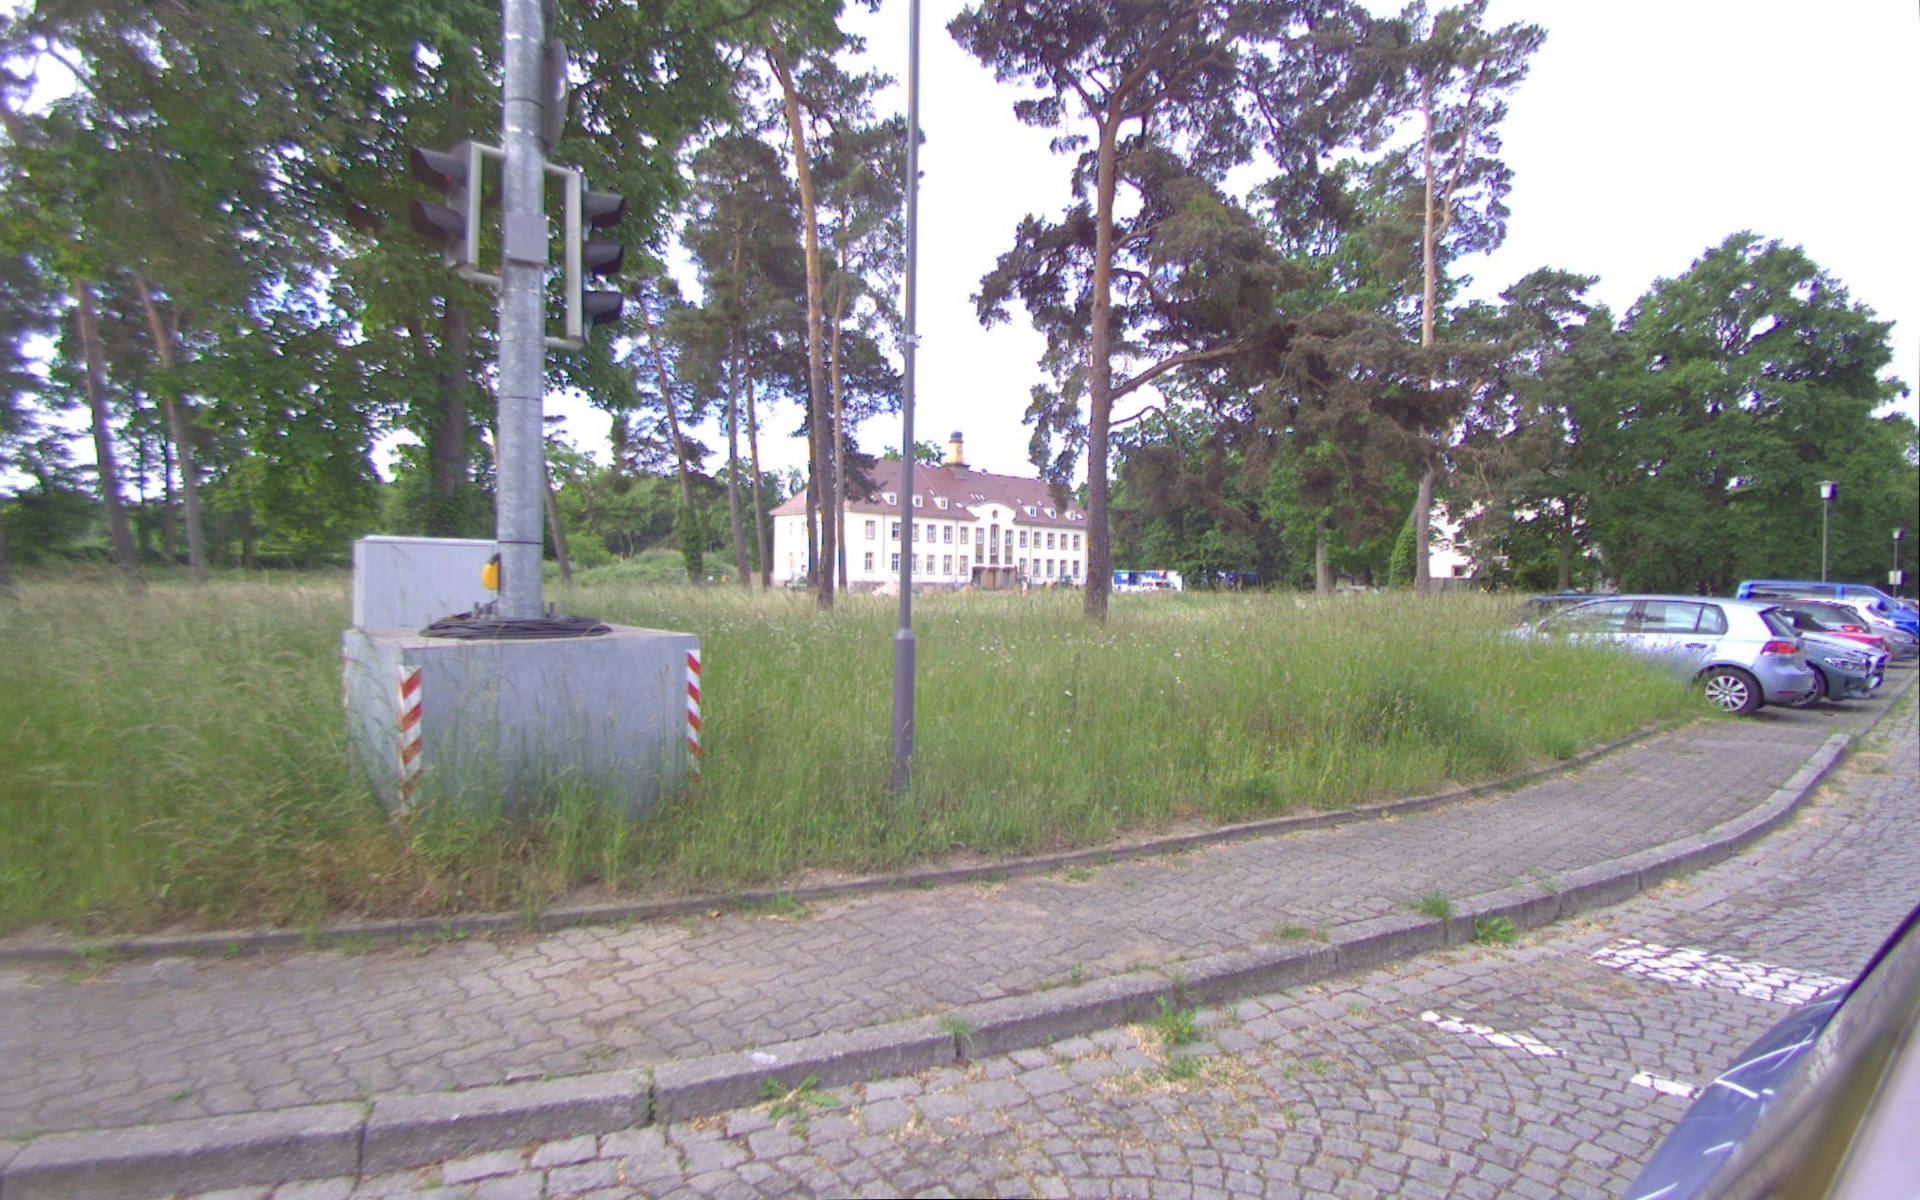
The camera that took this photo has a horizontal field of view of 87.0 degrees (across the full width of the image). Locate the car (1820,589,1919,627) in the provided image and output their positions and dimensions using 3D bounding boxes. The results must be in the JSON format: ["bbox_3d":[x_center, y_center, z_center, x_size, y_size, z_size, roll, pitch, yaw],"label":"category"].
[{"bbox_3d":[39.413,0.317,43.163,1.966,1.549,3.991,0,0,-43],"label":"car"}]

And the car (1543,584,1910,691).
[{"bbox_3d":[12.905,0.523,17.311,1.782,1.501,4.763,0,2,-43],"label":"car"}]

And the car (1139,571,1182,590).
[{"bbox_3d":[22.855,-2.206,115.152,5.133,2.038,2.152,-1,2,-41],"label":"car"}]

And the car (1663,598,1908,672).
[{"bbox_3d":[16.337,0.633,20.144,1.469,1.222,3.596,0,1,-42],"label":"car"}]

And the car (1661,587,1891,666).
[{"bbox_3d":[17.936,0.510,22.350,1.770,1.524,3.779,0,2,-45],"label":"car"}]

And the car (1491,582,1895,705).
[{"bbox_3d":[10.901,0.531,15.340,4.758,1.501,1.734,2,2,44],"label":"car"}]

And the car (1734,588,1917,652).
[{"bbox_3d":[22.188,0.457,26.024,1.609,1.470,3.405,0,2,-42],"label":"car"}]

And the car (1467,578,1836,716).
[{"bbox_3d":[9.035,0.512,13.438,1.579,1.444,3.768,0,2,-43],"label":"car"}]

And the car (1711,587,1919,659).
[{"bbox_3d":[20.342,0.482,23.930,1.788,1.474,3.847,0,2,-40],"label":"car"}]

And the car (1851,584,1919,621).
[{"bbox_3d":[46.838,0.123,49.978,1.966,1.784,4.004,0,2,-42],"label":"car"}]

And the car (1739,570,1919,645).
[{"bbox_3d":[26.045,0.181,29.712,1.967,1.963,4.743,0,3,-43],"label":"car"}]

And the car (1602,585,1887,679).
[{"bbox_3d":[14.500,0.508,18.862,1.770,1.470,3.967,0,2,-43],"label":"car"}]

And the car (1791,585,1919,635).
[{"bbox_3d":[32.246,0.309,35.953,1.966,1.630,3.992,0,2,-43],"label":"car"}]

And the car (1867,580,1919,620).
[{"bbox_3d":[50.121,0.004,52.795,1.966,2.038,3.993,0,2,-42],"label":"car"}]
